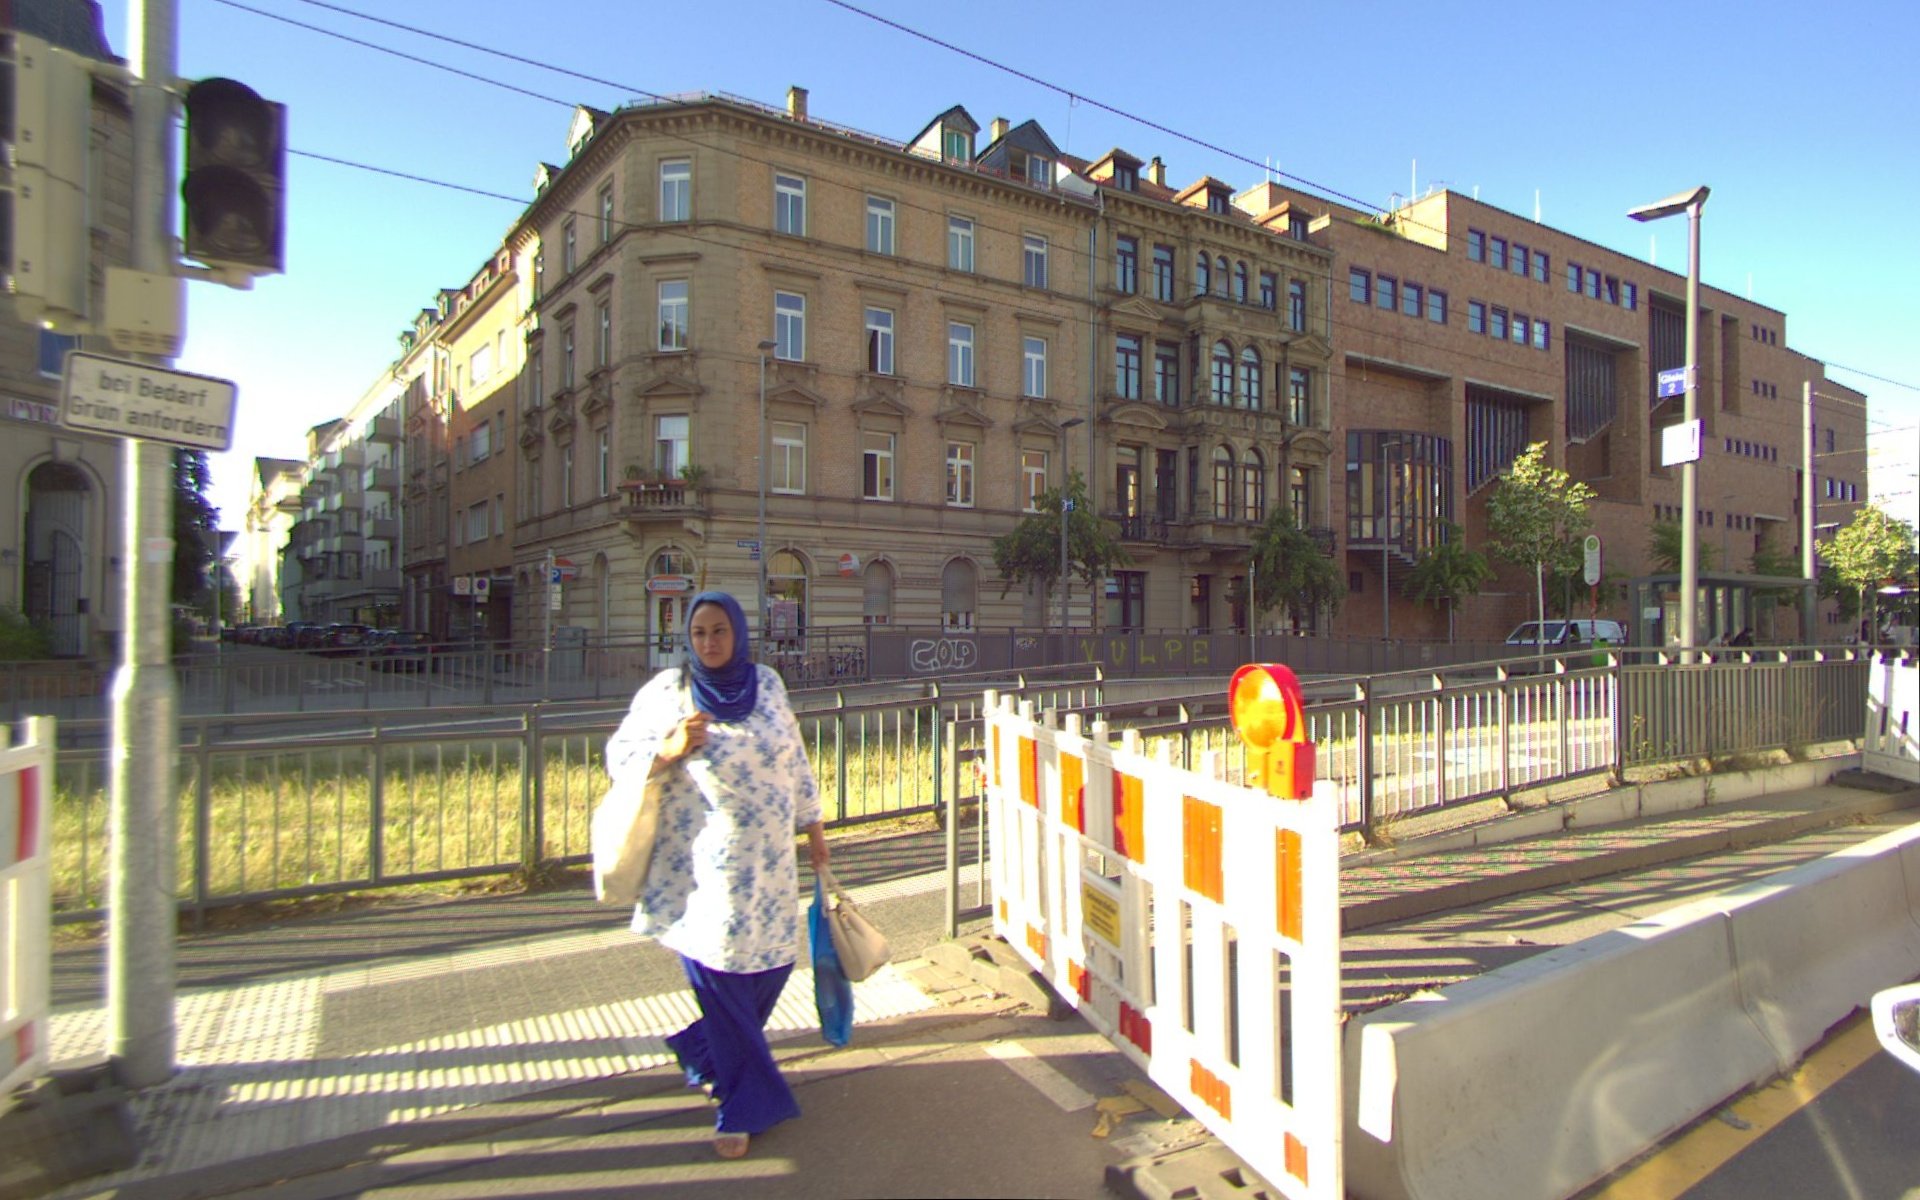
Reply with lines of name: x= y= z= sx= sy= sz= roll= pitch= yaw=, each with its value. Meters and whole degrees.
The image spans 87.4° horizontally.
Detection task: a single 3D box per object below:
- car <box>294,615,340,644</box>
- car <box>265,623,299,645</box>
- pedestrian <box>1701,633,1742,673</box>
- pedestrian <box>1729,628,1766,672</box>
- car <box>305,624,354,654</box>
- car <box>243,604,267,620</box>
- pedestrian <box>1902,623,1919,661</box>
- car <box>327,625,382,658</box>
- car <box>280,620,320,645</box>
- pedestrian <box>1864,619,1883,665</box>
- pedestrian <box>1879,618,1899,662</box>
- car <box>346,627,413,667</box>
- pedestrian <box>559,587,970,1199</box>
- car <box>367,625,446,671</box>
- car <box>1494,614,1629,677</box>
car: x=-36.174 y=1.656 z=56.468 sx=1.723 sy=1.539 sz=3.749 roll=2 pitch=-2 yaw=-39
car: x=-50.344 y=2.517 z=74.522 sx=1.723 sy=1.539 sz=3.749 roll=2 pitch=-2 yaw=-39
pedestrian: x=22.780 y=1.590 z=30.056 sx=0.713 sy=1.183 sz=0.718 roll=1 pitch=-3 yaw=-30
pedestrian: x=24.458 y=1.557 z=31.185 sx=0.713 sy=1.326 sz=0.643 roll=1 pitch=-3 yaw=-30
car: x=-33.005 y=2.030 z=52.559 sx=1.723 sy=1.539 sz=3.749 roll=2 pitch=-2 yaw=-39
car: x=-73.415 y=1.245 z=104.580 sx=1.723 sy=1.539 sz=3.749 roll=2 pitch=-2 yaw=-39
pedestrian: x=37.997 y=1.676 z=40.002 sx=0.635 sy=1.479 sz=0.536 roll=1 pitch=0 yaw=-30
car: x=-29.377 y=1.990 z=48.690 sx=1.723 sy=1.539 sz=3.749 roll=2 pitch=-2 yaw=-39
car: x=-42.452 y=2.092 z=64.560 sx=1.723 sy=1.539 sz=3.749 roll=2 pitch=-2 yaw=-39
pedestrian: x=33.623 y=1.526 z=36.989 sx=0.411 sy=1.670 sz=0.376 roll=1 pitch=1 yaw=-30
pedestrian: x=35.713 y=1.535 z=38.623 sx=0.546 sy=1.643 sz=0.376 roll=1 pitch=0 yaw=-30
car: x=-23.498 y=1.872 z=40.603 sx=1.723 sy=1.539 sz=3.749 roll=2 pitch=-2 yaw=-39
pedestrian: x=-0.576 y=0.728 z=2.899 sx=0.936 sy=1.477 sz=0.785 roll=1 pitch=-2 yaw=-32
car: x=-20.109 y=1.708 z=36.400 sx=1.812 sy=1.539 sz=3.955 roll=2 pitch=-2 yaw=-39
car: x=19.347 y=1.448 z=32.268 sx=4.535 sy=1.905 sz=1.982 roll=2 pitch=-2 yaw=-34
